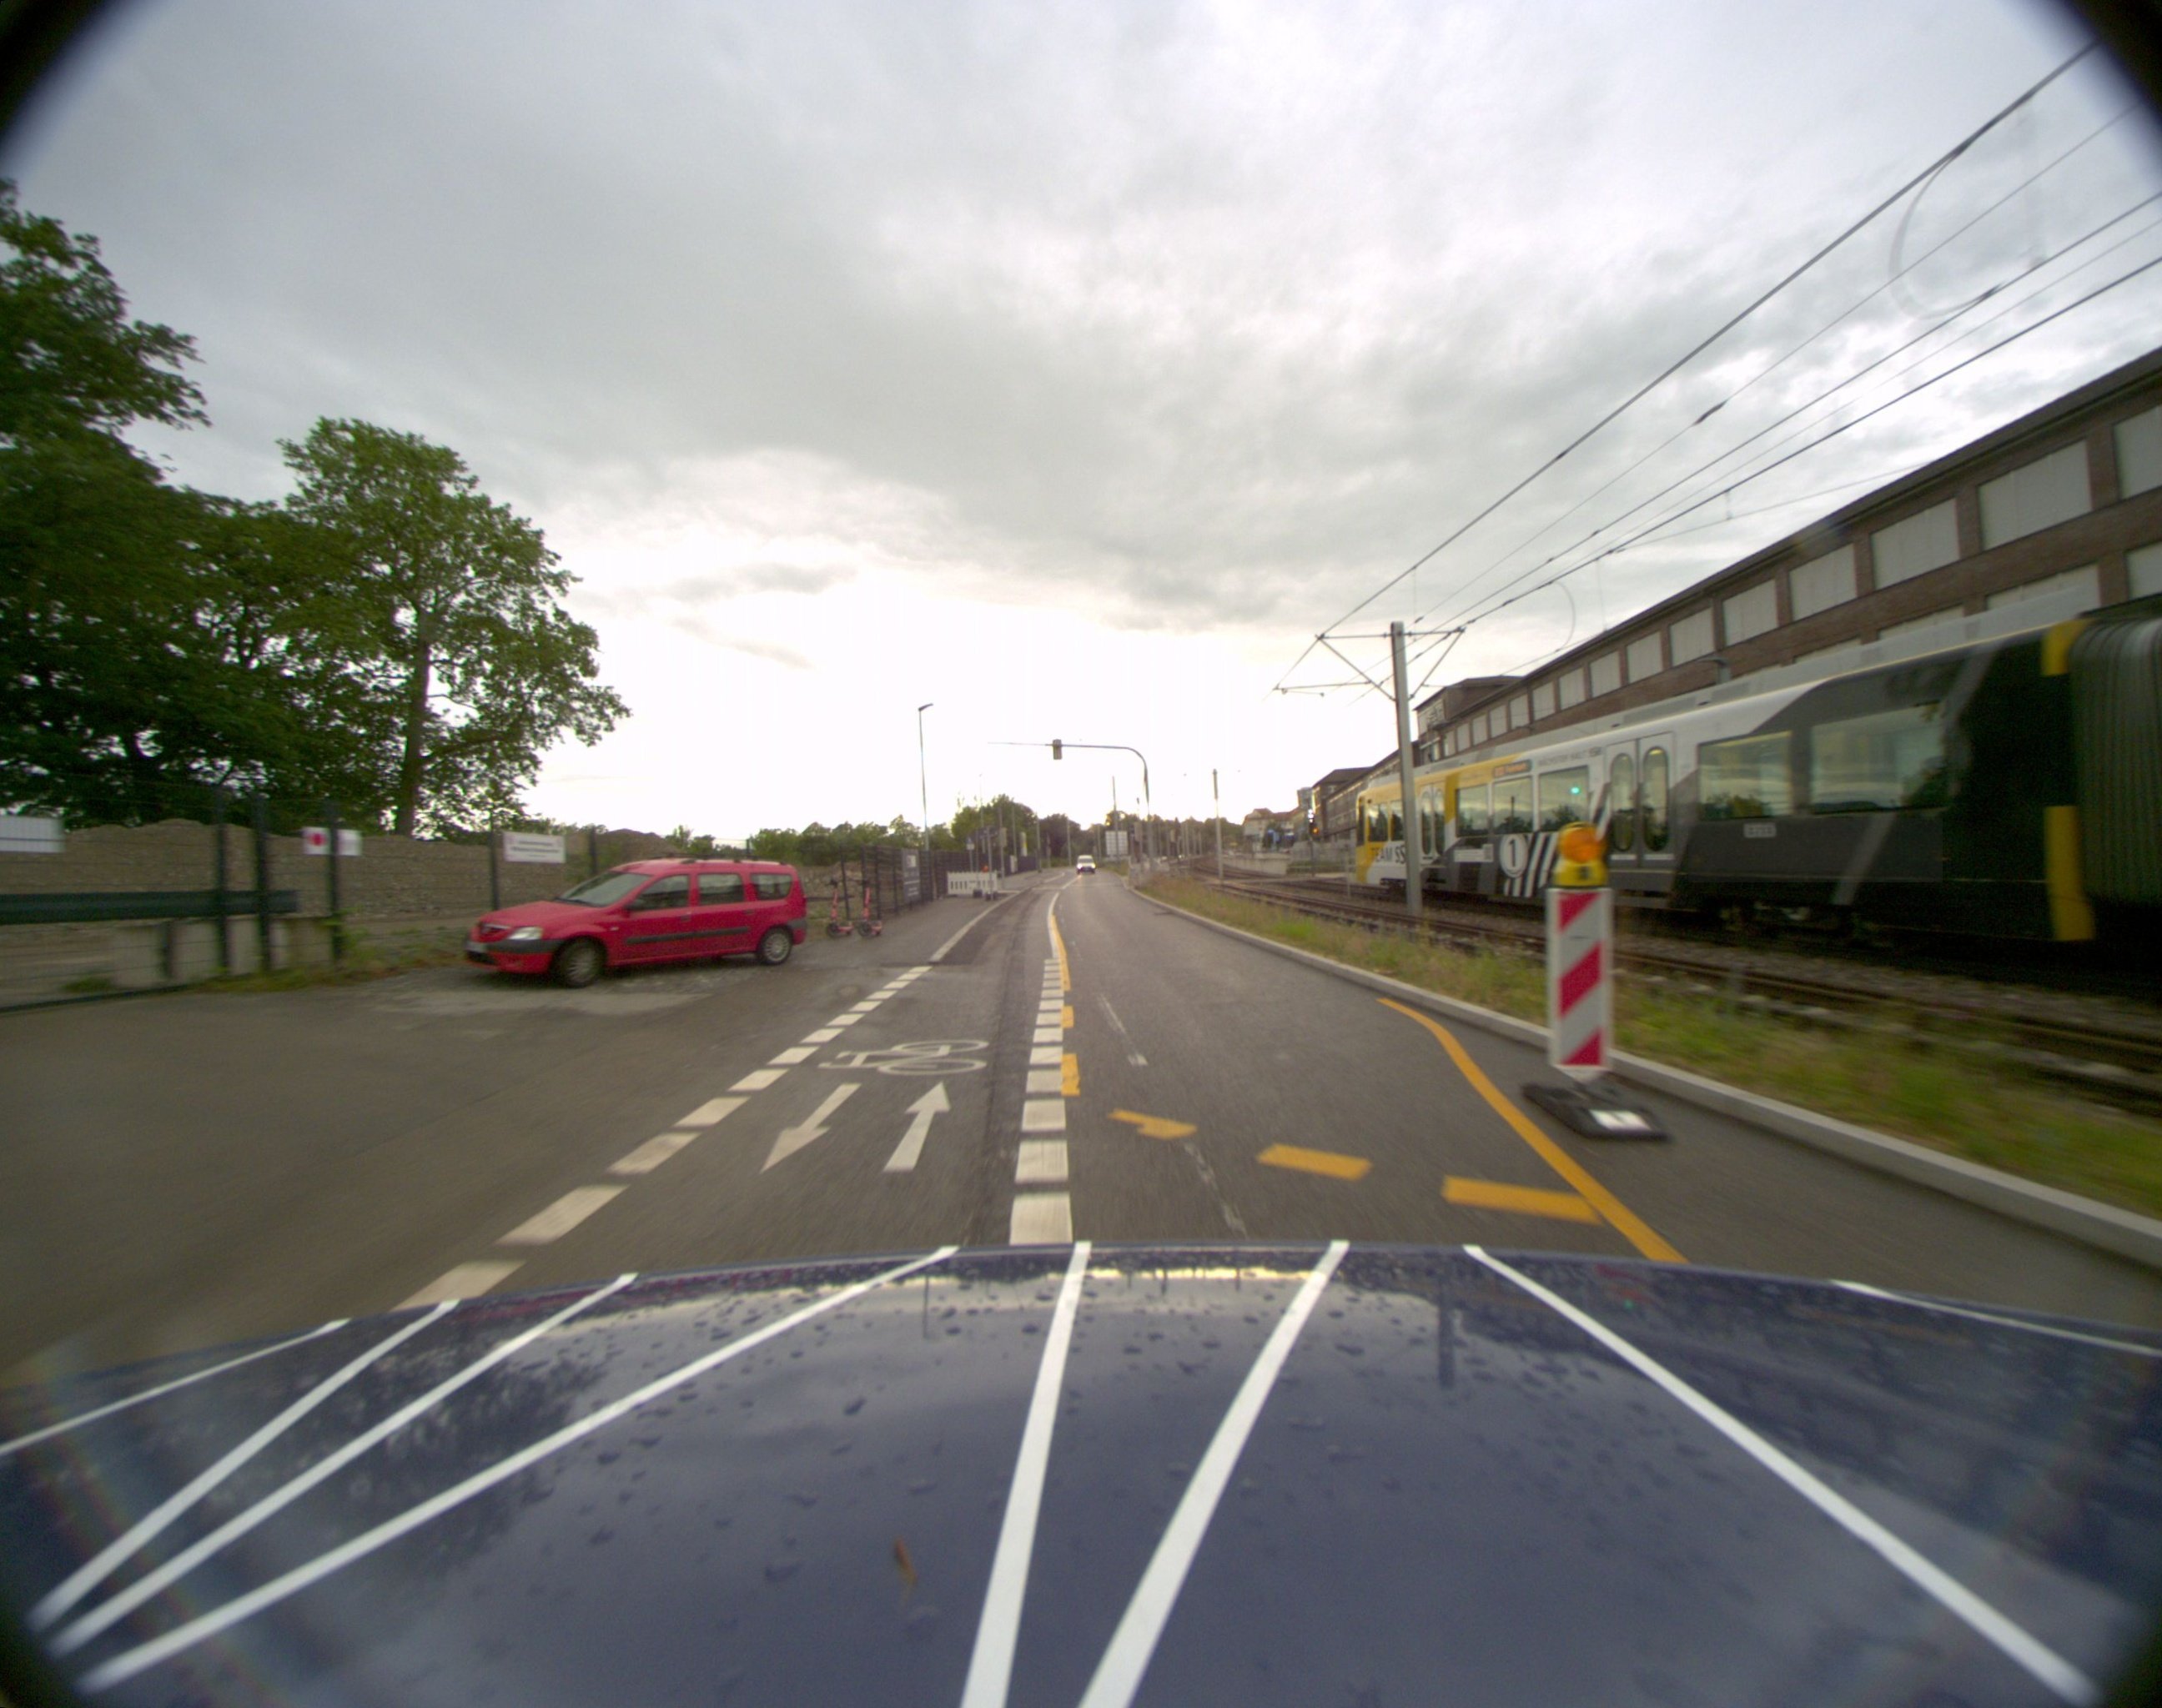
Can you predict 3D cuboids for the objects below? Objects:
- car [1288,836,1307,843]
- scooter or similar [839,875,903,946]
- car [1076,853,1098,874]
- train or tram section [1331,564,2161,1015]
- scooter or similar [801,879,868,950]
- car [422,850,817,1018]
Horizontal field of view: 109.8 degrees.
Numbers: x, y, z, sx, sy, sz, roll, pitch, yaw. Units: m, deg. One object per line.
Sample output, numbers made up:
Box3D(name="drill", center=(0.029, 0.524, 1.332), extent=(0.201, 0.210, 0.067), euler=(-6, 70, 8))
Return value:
Box3D(name="car", center=(57.209, -3.789, 200.897), extent=(4.573, 1.750, 2.001), euler=(-3, 0, 10))
Box3D(name="scooter or similar", center=(-4.463, 1.159, 16.282), extent=(0.616, 1.343, 1.912), euler=(-3, 0, 5))
Box3D(name="car", center=(0.588, 0.925, 77.646), extent=(1.999, 2.002, 3.998), euler=(-2, 1, -2))
Box3D(name="train or tram section", center=(10.259, -0.702, 16.358), extent=(2.963, 3.863, 19.569), euler=(-4, 0, 0))
Box3D(name="scooter or similar", center=(-5.316, 1.271, 16.537), extent=(0.616, 1.343, 1.912), euler=(-3, 0, 5))
Box3D(name="car", center=(-6.221, 0.927, 10.882), extent=(1.821, 1.783, 4.416), euler=(-2, 0, 30))
